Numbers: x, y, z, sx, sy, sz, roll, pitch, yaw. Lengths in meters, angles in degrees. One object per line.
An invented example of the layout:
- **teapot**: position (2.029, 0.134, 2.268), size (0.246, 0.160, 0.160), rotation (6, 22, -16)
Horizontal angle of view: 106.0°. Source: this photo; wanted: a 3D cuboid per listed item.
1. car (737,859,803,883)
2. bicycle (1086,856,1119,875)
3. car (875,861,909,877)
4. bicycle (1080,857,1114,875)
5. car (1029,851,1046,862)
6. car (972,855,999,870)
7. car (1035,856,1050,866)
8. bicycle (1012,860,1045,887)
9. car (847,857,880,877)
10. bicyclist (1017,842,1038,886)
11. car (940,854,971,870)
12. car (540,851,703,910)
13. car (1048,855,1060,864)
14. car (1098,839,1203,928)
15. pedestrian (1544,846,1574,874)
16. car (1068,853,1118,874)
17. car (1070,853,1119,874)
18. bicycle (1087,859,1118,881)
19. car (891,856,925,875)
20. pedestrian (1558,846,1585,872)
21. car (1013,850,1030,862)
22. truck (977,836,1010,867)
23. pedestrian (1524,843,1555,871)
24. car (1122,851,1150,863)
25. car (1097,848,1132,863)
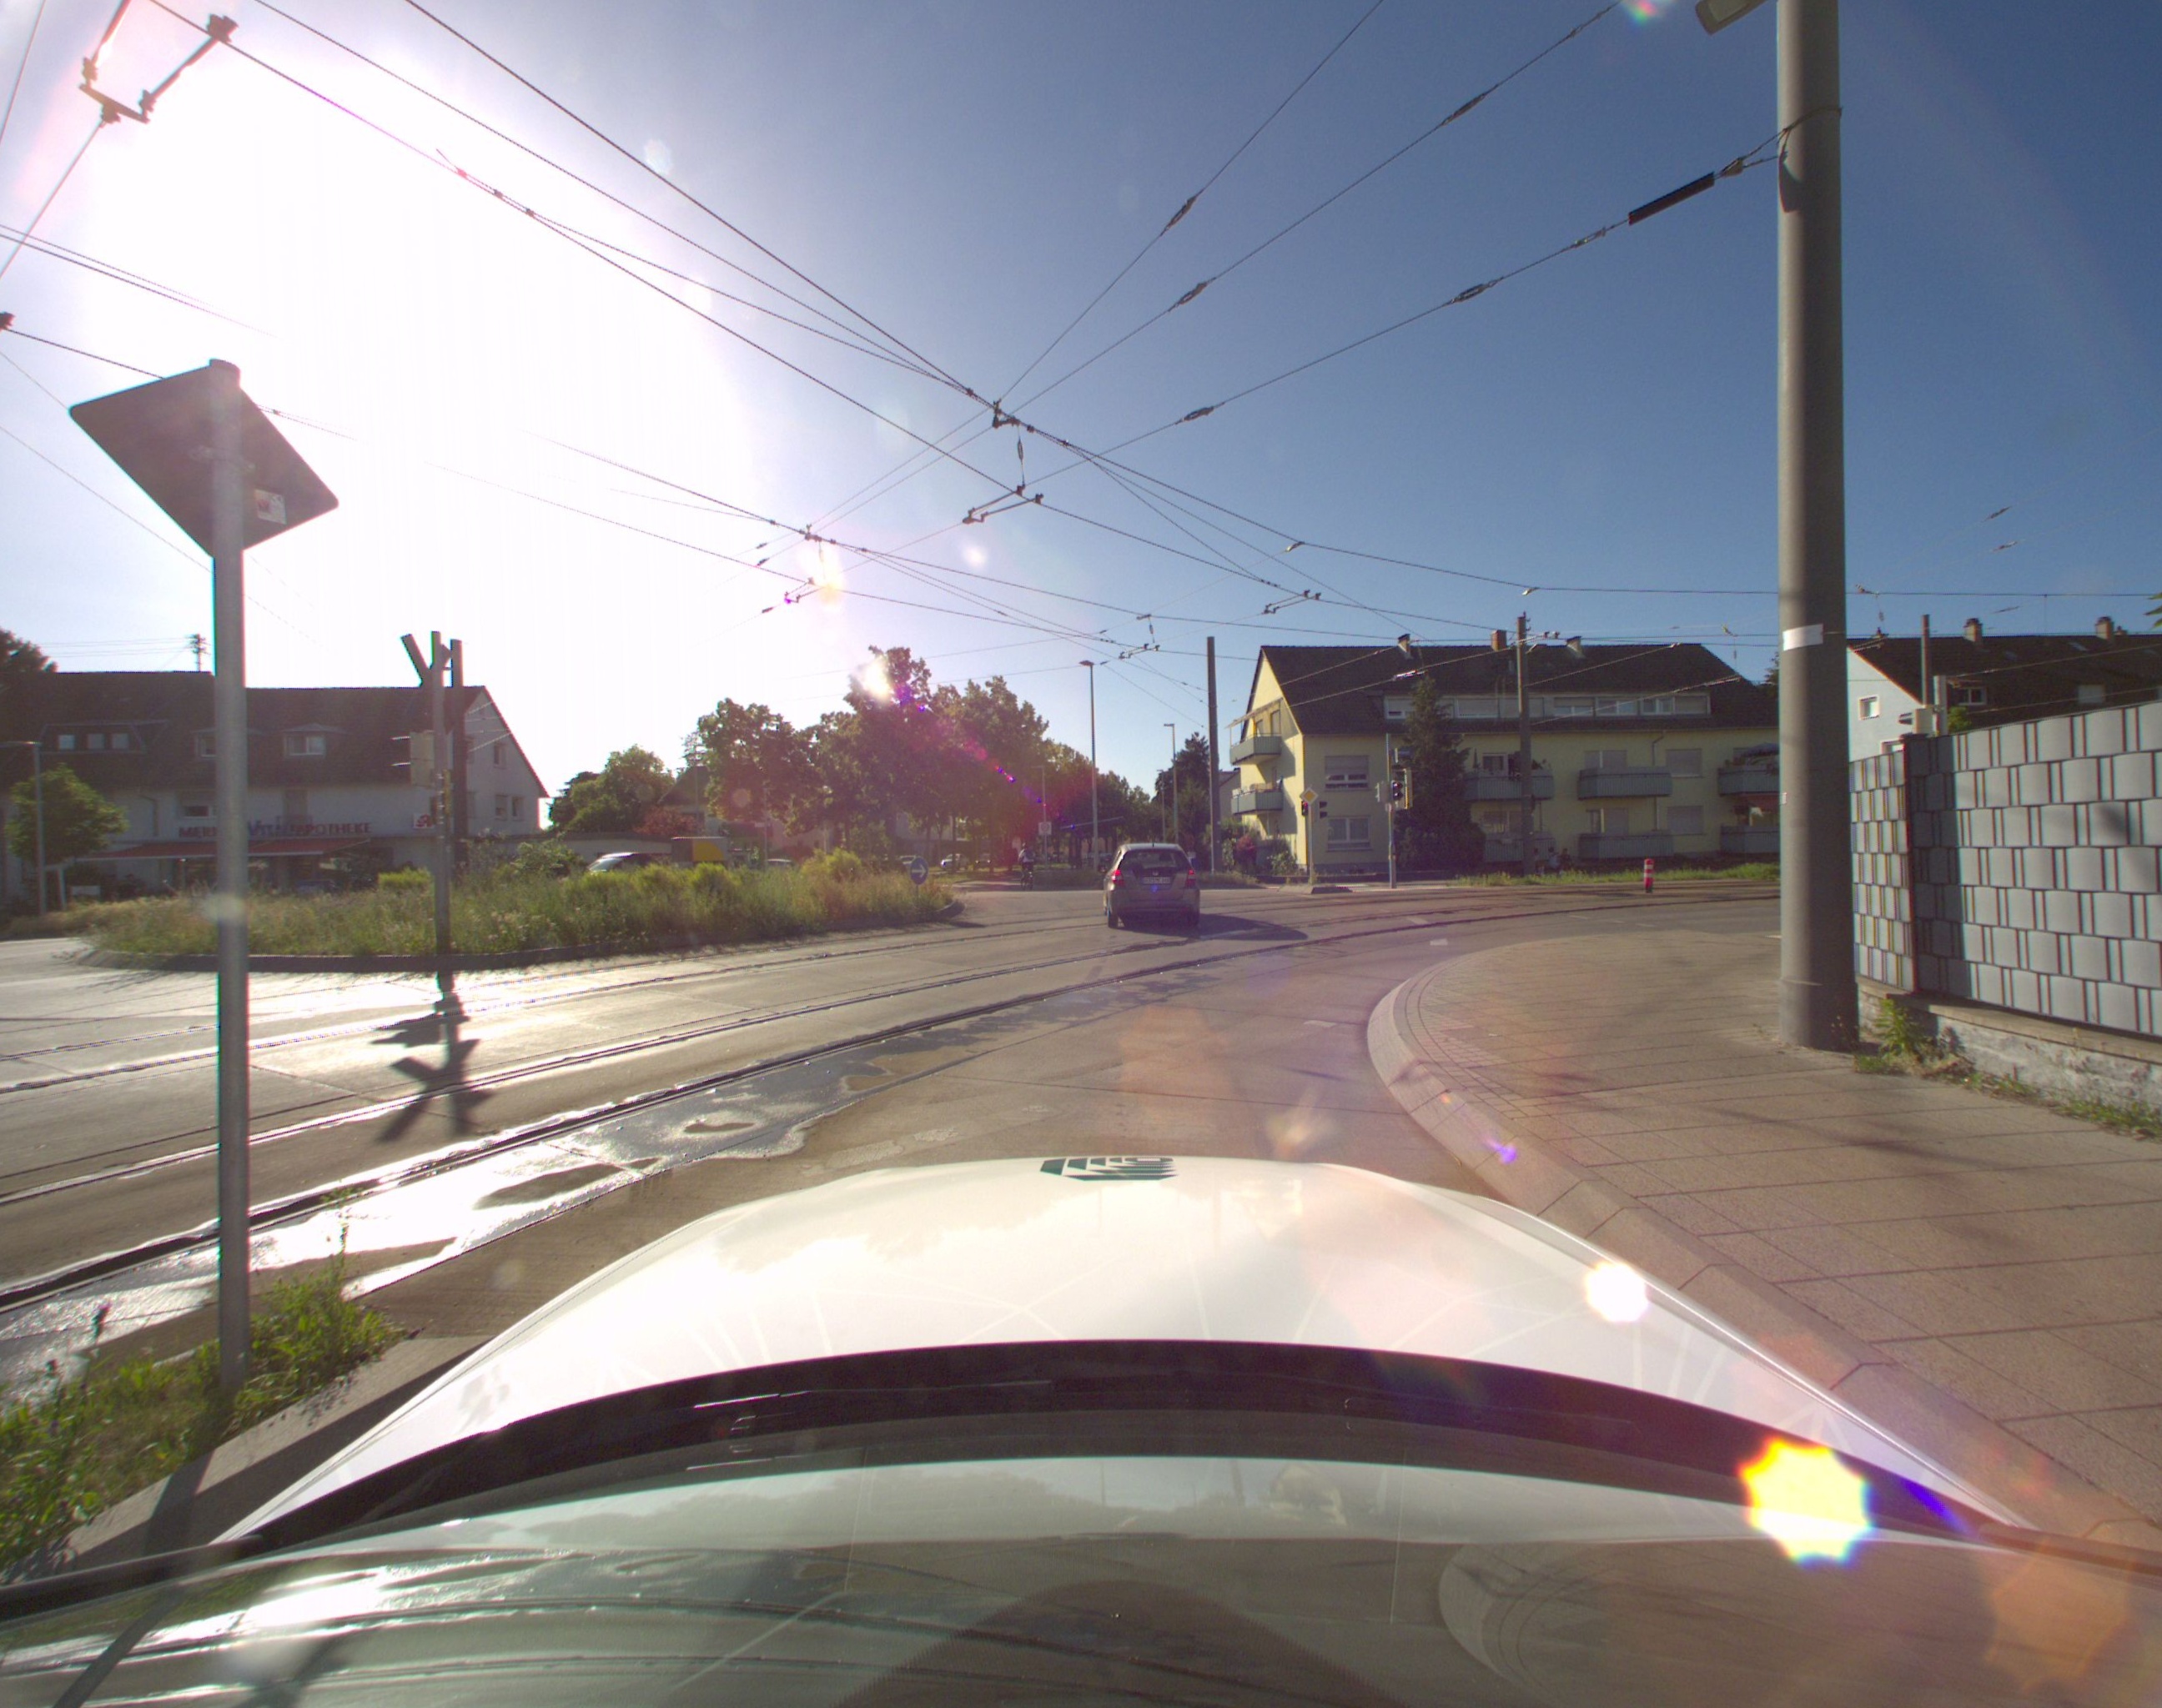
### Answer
- **car**: position (-22.828, 1.212, 59.885), size (4.019, 1.694, 2.003), rotation (0, 0, 4)
- **bicycle**: position (1.204, 0.647, 46.158), size (1.835, 1.027, 0.689), rotation (0, 0, 0)
- **car**: position (-16.076, 1.246, 69.390), size (1.955, 1.324, 3.999), rotation (0, 0, -1)
- **bicycle**: position (0.916, 0.676, 47.063), size (1.967, 1.027, 0.696), rotation (0, 0, 0)
- **car**: position (-6.888, 0.426, 128.857), size (1.982, 1.699, 4.228), rotation (0, 0, 8)
- **car**: position (-10.252, 0.923, 87.519), size (1.821, 1.580, 4.450), rotation (0, 0, 7)
- **car**: position (-6.380, 1.143, 136.228), size (1.985, 1.699, 4.222), rotation (0, 0, 3)
- **bicycle**: position (-2.101, 0.783, 32.485), size (0.770, 1.037, 1.520), rotation (0, -2, -27)
- **car**: position (-16.844, 1.004, 63.240), size (1.796, 1.464, 3.796), rotation (0, 0, -4)
- **bicyclist**: position (-2.144, 0.414, 32.575), size (0.606, 1.714, 0.539), rotation (0, -4, -28)
- **car**: position (-13.927, 0.842, 90.690), size (1.983, 1.773, 5.070), rotation (0, 0, 7)
- **car**: position (-17.123, 0.925, 30.715), size (1.977, 1.981, 5.264), rotation (-3, -1, 20)
- **car**: position (-4.682, 0.955, 141.460), size (1.640, 1.648, 3.572), rotation (0, 0, 3)
- **car**: position (1.261, 0.472, 16.164), size (1.682, 1.490, 3.913), rotation (-2, 1, 0)
- **pedestrian**: position (18.596, 0.238, 31.670), size (0.629, 1.064, 0.811), rotation (0, 0, -36)
- **car**: position (0.907, 0.668, 58.706), size (3.501, 1.533, 1.579), rotation (0, 0, 4)
- **car**: position (1.030, 0.671, 60.467), size (3.501, 1.533, 1.579), rotation (0, 0, 4)
- **bicycle**: position (1.153, 0.847, 43.361), size (1.660, 1.208, 0.689), rotation (0, 0, 0)
- **car**: position (-15.712, 1.033, 74.194), size (1.985, 1.699, 4.222), rotation (0, 0, 3)
- **pedestrian**: position (19.207, 0.205, 31.908), size (0.596, 1.006, 0.718), rotation (0, 0, -27)
- **car**: position (-8.784, 0.310, 120.012), size (1.985, 1.699, 4.222), rotation (0, 0, 3)
- **truck**: position (-11.529, -0.408, 108.284), size (3.056, 3.993, 8.016), rotation (0, 0, 3)
- **pedestrian**: position (17.761, 0.119, 31.535), size (0.685, 1.046, 0.818), rotation (-1, 0, -6)
- **car**: position (6.785, 0.369, 100.781), size (3.345, 1.533, 1.524), rotation (0, 0, 3)
- **car**: position (3.443, 0.139, 82.533), size (3.501, 1.533, 1.579), rotation (0, 0, 4)
